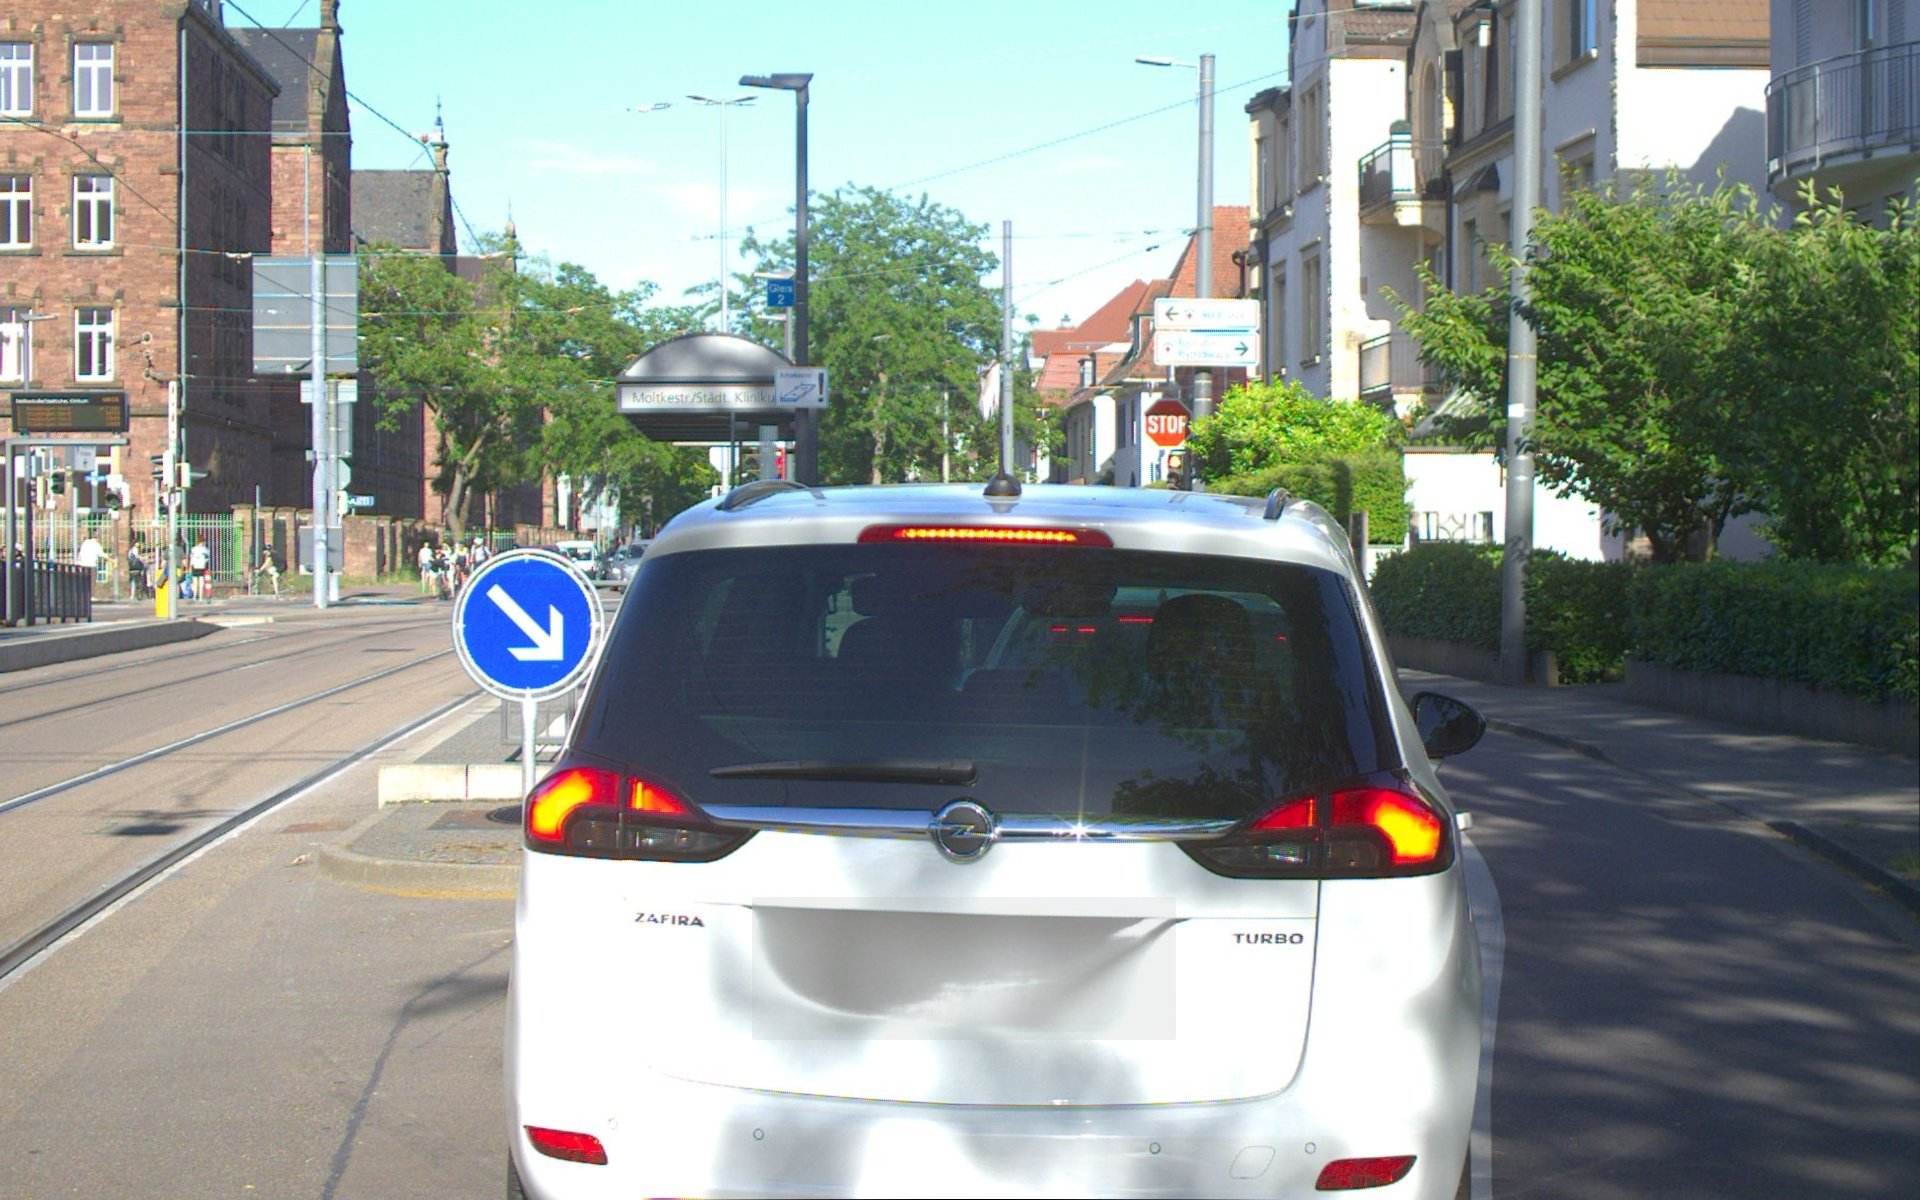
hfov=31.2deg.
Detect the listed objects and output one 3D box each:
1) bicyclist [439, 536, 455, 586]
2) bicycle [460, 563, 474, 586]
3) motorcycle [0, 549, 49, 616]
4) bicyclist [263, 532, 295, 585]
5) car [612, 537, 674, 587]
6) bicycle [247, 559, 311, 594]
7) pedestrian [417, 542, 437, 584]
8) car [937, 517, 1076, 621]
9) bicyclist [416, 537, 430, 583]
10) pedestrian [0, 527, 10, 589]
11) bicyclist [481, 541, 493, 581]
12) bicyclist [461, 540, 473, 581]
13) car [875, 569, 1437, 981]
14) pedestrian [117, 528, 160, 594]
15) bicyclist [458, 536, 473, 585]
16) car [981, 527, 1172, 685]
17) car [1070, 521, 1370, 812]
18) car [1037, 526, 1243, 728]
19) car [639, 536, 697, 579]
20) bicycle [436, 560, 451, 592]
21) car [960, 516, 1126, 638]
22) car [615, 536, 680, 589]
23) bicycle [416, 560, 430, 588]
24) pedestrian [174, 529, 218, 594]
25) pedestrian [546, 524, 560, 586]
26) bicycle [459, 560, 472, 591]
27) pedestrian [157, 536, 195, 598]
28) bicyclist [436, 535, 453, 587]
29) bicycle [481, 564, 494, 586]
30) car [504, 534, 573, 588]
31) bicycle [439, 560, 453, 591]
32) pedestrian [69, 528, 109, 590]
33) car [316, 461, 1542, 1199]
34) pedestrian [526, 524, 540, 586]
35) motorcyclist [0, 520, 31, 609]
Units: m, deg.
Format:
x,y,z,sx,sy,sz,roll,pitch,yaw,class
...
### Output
x,y,z,sx,sy,sz,roll,pitch,yaw,class
-15.893,-1.222,106.562,0.444,1.548,0.496,0,1,-4,bicyclist
-15.999,-0.825,111.568,0.344,0.722,0.997,1,1,-4,bicycle
-17.418,-0.325,62.988,0.612,1.194,2.075,0,1,9,motorcycle
-18.593,-1.136,93.886,0.758,1.425,0.516,1,0,-2,bicyclist
-10.533,-1.272,114.413,1.993,1.623,4.001,0,1,-5,car
-18.592,-0.631,93.890,1.670,0.949,0.529,0,1,-2,bicycle
-21.569,-1.493,139.127,0.734,1.708,0.754,1,0,-6,pedestrian
0.664,-0.487,51.756,1.993,1.497,4.000,0,1,-1,car
-17.982,-1.338,115.092,0.444,1.548,0.496,0,1,-4,bicyclist
-24.951,-1.081,88.425,0.931,1.583,0.805,1,0,-21,pedestrian
-15.349,-1.280,111.654,0.359,1.299,0.398,0,1,-4,bicyclist
-15.996,-1.276,111.579,0.344,1.315,0.405,1,0,-4,bicyclist
0.741,0.590,13.978,1.953,1.392,4.000,0,1,2,car
-21.163,-1.002,88.545,0.843,1.686,1.029,1,0,-1,pedestrian
-15.689,-1.245,109.146,0.444,1.548,0.496,0,1,-4,bicyclist
1.173,0.026,36.175,1.830,1.574,4.010,0,1,-1,car
1.489,0.332,20.824,1.637,1.595,3.854,0,1,2,car
1.490,0.180,29.251,1.637,1.595,3.854,0,1,2,car
-11.080,-1.617,130.650,1.993,1.623,4.001,0,1,-2,car
-15.483,-0.716,103.079,0.344,0.946,1.160,1,0,-4,bicycle
1.017,-0.318,44.295,1.993,1.497,4.000,0,1,-1,car
-9.736,-1.190,107.307,1.993,1.623,4.001,0,1,-5,car
-17.986,-0.872,115.136,0.344,0.946,0.997,1,0,-4,bicycle
-19.769,-0.993,88.958,0.895,1.678,1.029,1,0,-1,pedestrian
-13.290,-1.473,112.251,0.444,2.007,0.496,0,1,-4,pedestrian
-15.698,-0.780,109.161,0.344,0.946,0.997,1,0,-4,bicycle
-21.749,-0.918,95.357,0.735,1.708,0.705,1,0,22,pedestrian
-15.475,-1.185,103.280,0.444,1.548,0.743,0,1,-4,bicyclist
-15.351,-0.817,111.664,0.344,0.722,0.997,1,1,-4,bicycle
-13.117,-1.226,107.083,1.993,1.623,4.001,0,1,-5,car
-15.929,-0.758,106.612,0.344,0.946,0.997,1,0,-4,bicycle
-22.547,-1.054,89.010,0.802,1.583,0.935,1,0,-3,pedestrian
0.133,0.584,7.598,1.994,1.639,3.992,1,1,6,car
-13.907,-1.478,111.927,0.444,2.007,0.496,0,1,-4,pedestrian
-17.441,-0.658,62.828,0.613,1.616,0.844,0,1,9,motorcyclist
